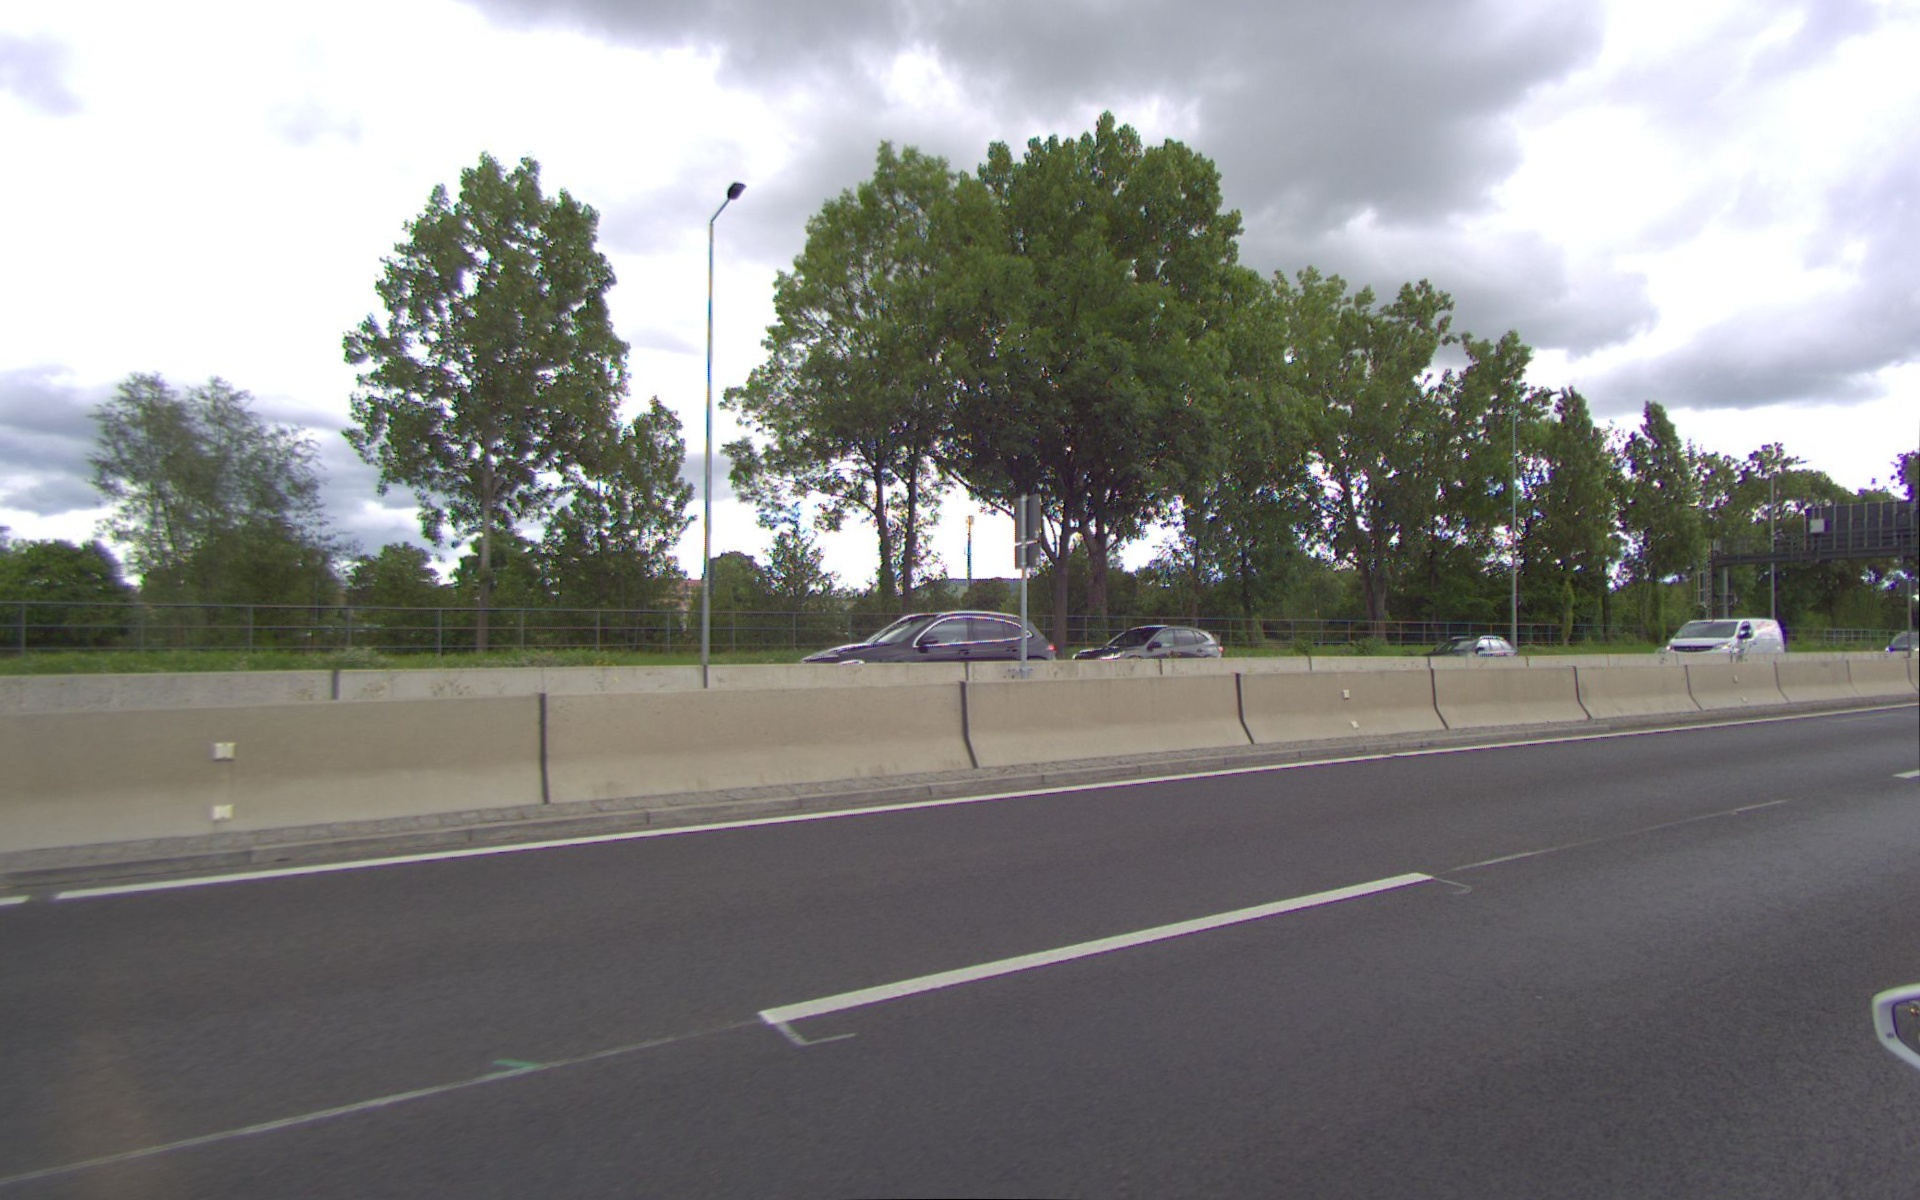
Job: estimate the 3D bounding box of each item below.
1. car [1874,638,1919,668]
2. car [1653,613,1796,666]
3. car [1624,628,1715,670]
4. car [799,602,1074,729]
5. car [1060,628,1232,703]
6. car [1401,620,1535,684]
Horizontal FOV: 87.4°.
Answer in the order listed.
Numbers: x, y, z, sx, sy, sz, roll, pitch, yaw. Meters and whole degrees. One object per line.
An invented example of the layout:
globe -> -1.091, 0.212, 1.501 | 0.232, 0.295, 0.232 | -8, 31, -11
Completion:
car -> 58.459, 3.240, 62.101 | 3.884, 1.705, 1.867 | 1, 1, -32
car -> 25.111, 1.271, 32.970 | 4.827, 1.580, 1.984 | 1, 1, -30
car -> 31.604, 2.160, 44.738 | 4.076, 1.705, 1.867 | 1, 1, -32
car -> -0.356, 0.954, 16.144 | 3.955, 1.762, 1.983 | 1, 1, -32
car -> 4.966, 1.666, 26.667 | 4.255, 1.762, 1.983 | 1, 1, -32
car -> 17.870, 1.786, 35.293 | 4.608, 2.041, 1.984 | 1, 1, -30
